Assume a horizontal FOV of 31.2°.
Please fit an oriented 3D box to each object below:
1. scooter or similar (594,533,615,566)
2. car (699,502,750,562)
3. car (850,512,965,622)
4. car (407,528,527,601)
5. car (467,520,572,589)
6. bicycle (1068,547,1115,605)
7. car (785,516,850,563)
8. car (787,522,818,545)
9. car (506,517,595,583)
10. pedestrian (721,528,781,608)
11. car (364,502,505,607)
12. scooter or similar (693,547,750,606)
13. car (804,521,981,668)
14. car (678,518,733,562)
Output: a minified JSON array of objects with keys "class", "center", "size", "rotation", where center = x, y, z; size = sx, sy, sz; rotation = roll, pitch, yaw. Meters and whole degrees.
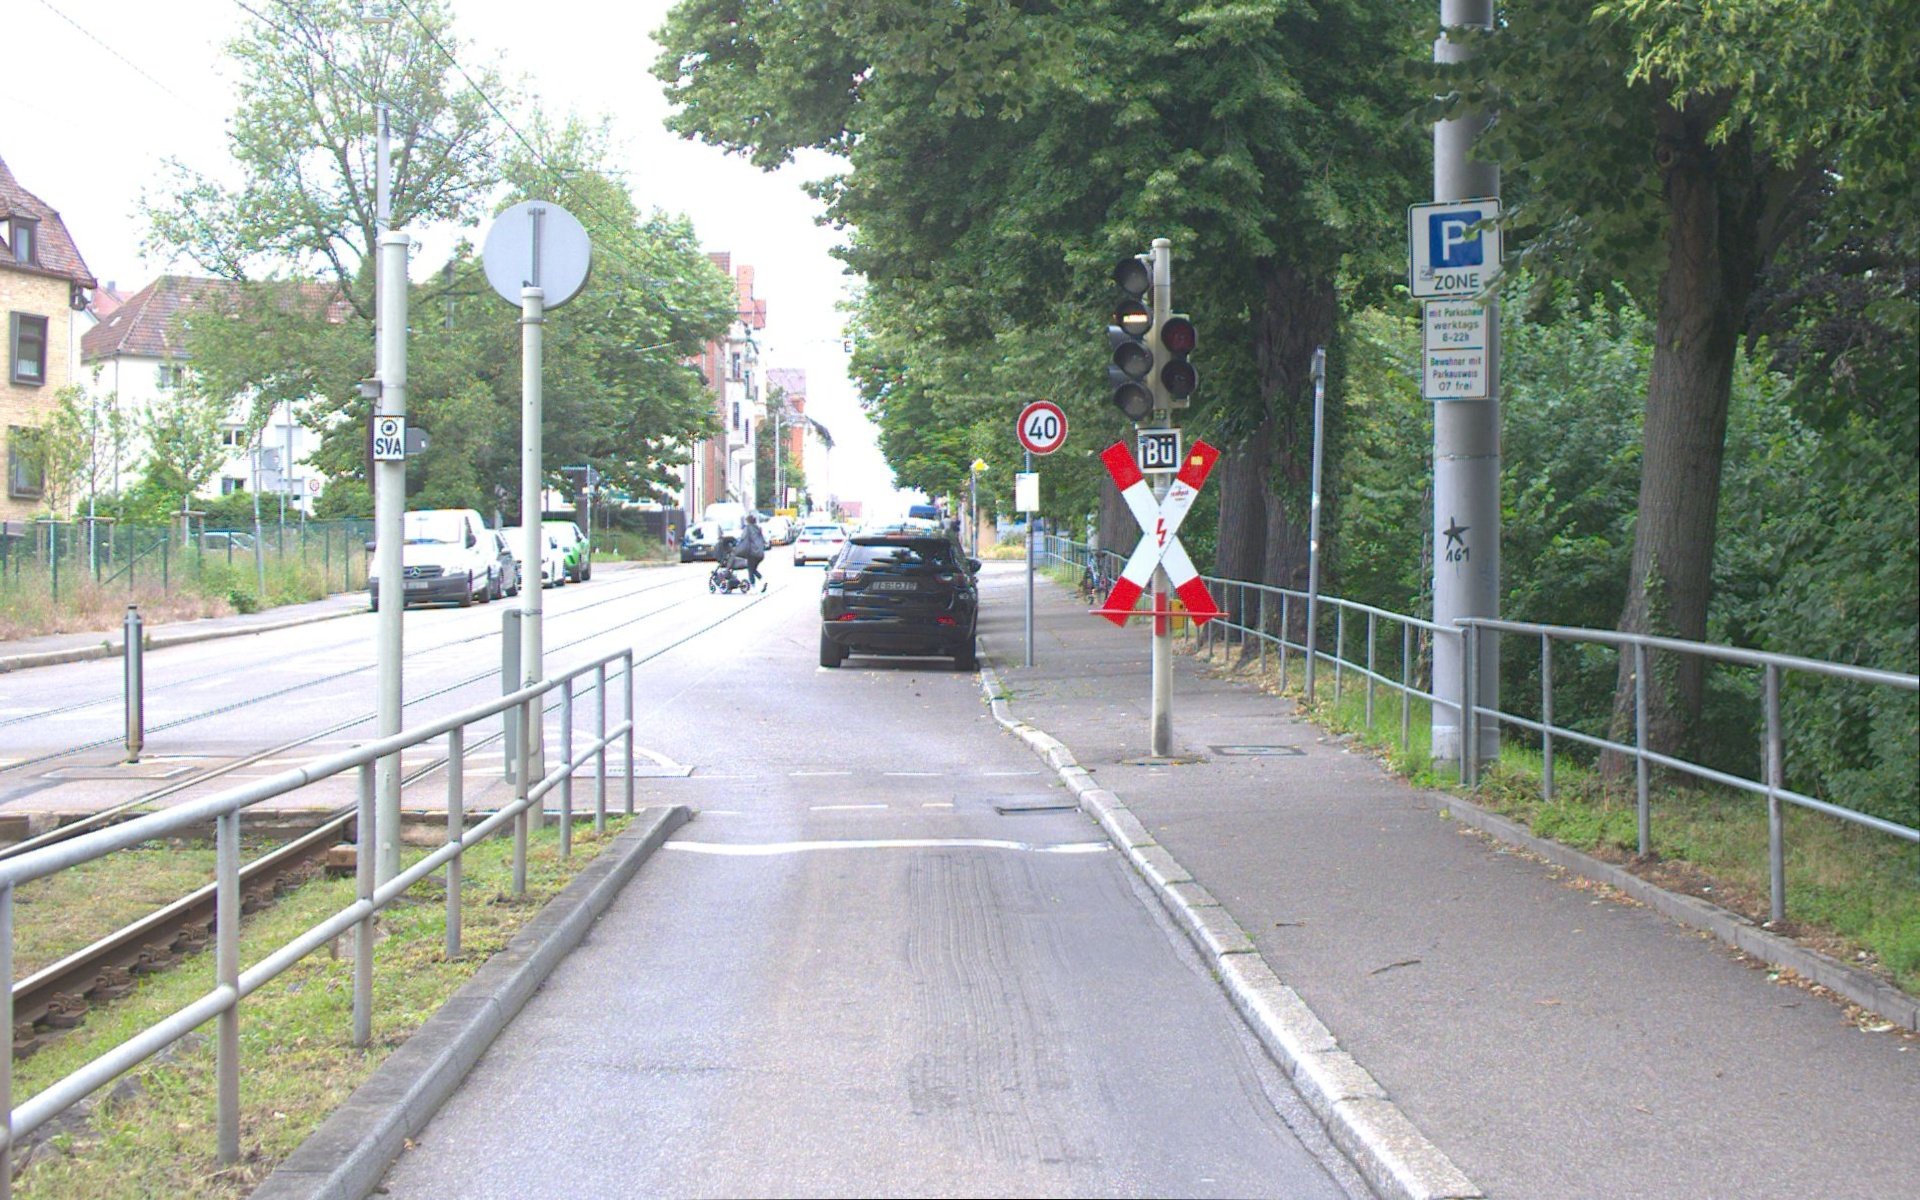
[{"class":"scooter or similar","center":[-14.678,-2.068,141.972],"size":[0.691,1.334,1.639],"rotation":[1,0,1]},{"class":"car","center":[-11.044,-3.173,161.565],"size":[2.230,2.755,5.800],"rotation":[1,0,-2]},{"class":"car","center":[-0.892,-0.576,56.603],"size":[1.726,1.626,4.089],"rotation":[4,1,-2]},{"class":"car","center":[-10.362,-0.778,72.531],"size":[1.896,1.428,4.512],"rotation":[-1,1,0]},{"class":"car","center":[-10.319,-1.074,80.828],"size":[1.885,1.521,4.664],"rotation":[-1,1,0]},{"class":"bicycle","center":[2.274,-0.420,59.655],"size":[0.427,0.972,1.795],"rotation":[0,0,-10]},{"class":"car","center":[-4.694,-1.988,113.591],"size":[1.993,1.493,4.312],"rotation":[1,0,-1]},{"class":"car","center":[-11.212,-4.709,244.922],"size":[1.993,1.596,4.000],"rotation":[1,0,-1]},{"class":"car","center":[-10.296,-1.277,86.670],"size":[1.723,1.574,4.181],"rotation":[-1,1,0]},{"class":"pedestrian","center":[-4.288,-0.663,70.513],"size":[0.915,1.623,0.805],"rotation":[1,0,41]},{"class":"car","center":[-10.124,-0.874,66.534],"size":[2.035,1.875,4.885],"rotation":[-3,1,-2]},{"class":"scooter or similar","center":[-4.934,-0.487,71.062],"size":[0.838,1.192,0.805],"rotation":[1,0,41]},{"class":"car","center":[-0.747,-0.110,40.857],"size":[1.904,1.609,4.600],"rotation":[1,1,1]},{"class":"car","center":[-10.867,-2.552,147.079],"size":[1.993,1.802,4.000],"rotation":[1,0,1]}]
